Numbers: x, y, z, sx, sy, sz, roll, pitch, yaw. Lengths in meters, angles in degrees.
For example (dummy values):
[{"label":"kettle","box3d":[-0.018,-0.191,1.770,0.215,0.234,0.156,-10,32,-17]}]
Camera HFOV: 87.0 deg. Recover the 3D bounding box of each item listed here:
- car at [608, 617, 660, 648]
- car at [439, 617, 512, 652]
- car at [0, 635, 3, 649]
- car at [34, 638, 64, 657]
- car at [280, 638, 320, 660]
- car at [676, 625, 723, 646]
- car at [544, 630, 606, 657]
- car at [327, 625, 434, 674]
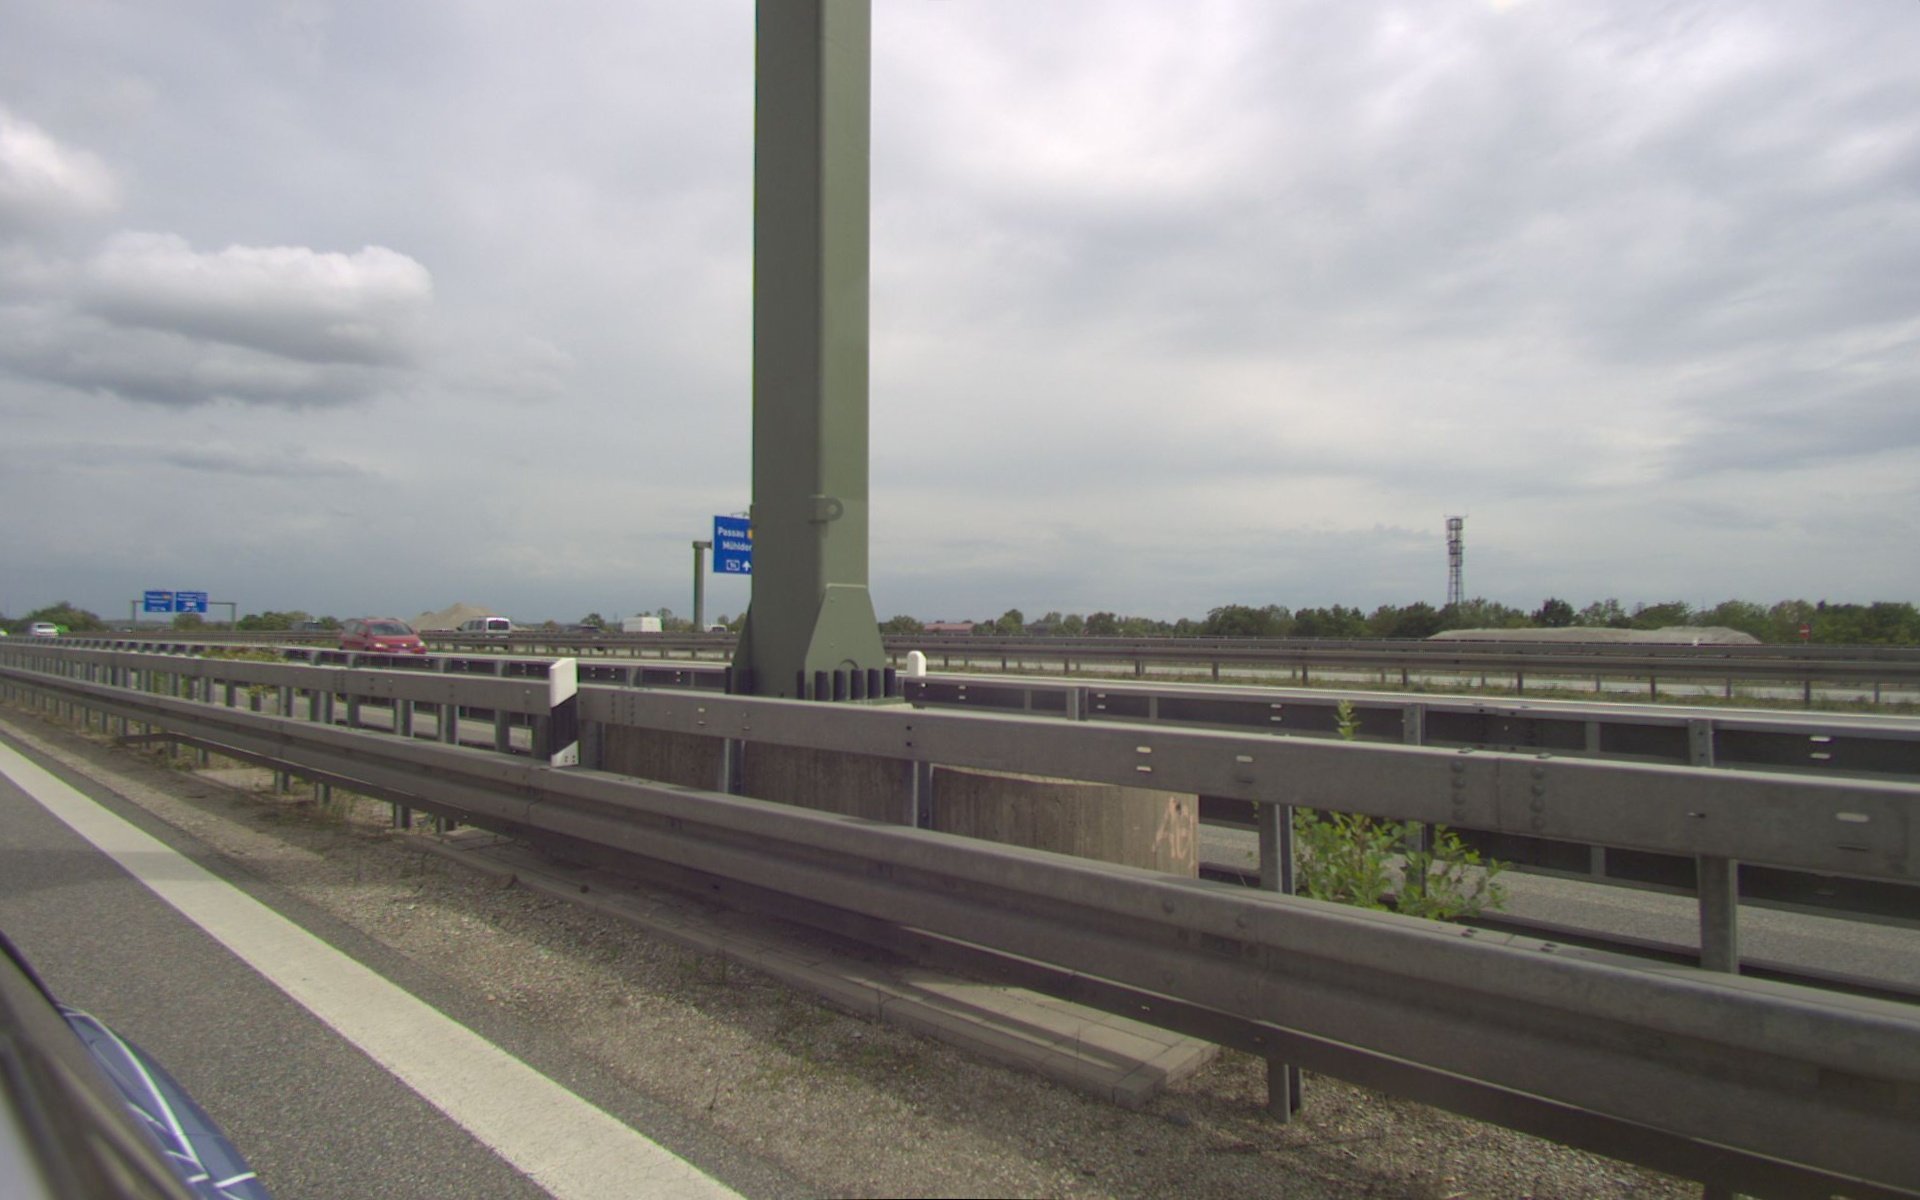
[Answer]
[{"label":"car","box3d":[-26.236,2.636,81.369,4.487,2.323,1.973,-3,-1,41]},{"label":"car","box3d":[-27.835,1.958,58.076,4.820,1.807,1.891,-2,2,41]},{"label":"car","box3d":[-130.784,5.708,136.555,3.996,1.896,1.974,-3,-1,39]},{"label":"car","box3d":[-101.267,5.239,112.449,4.464,2.029,1.973,-3,-1,41]},{"label":"car","box3d":[-59.595,4.441,91.394,4.220,1.829,1.887,-3,0,41]},{"label":"car","box3d":[-21.131,2.870,82.034,3.908,1.506,1.649,-1,2,41]},{"label":"car","box3d":[-22.551,2.532,59.208,3.998,1.444,1.637,-2,0,41]},{"label":"car","box3d":[-20.044,1.690,34.941,4.350,1.557,1.801,-3,-1,40]}]
